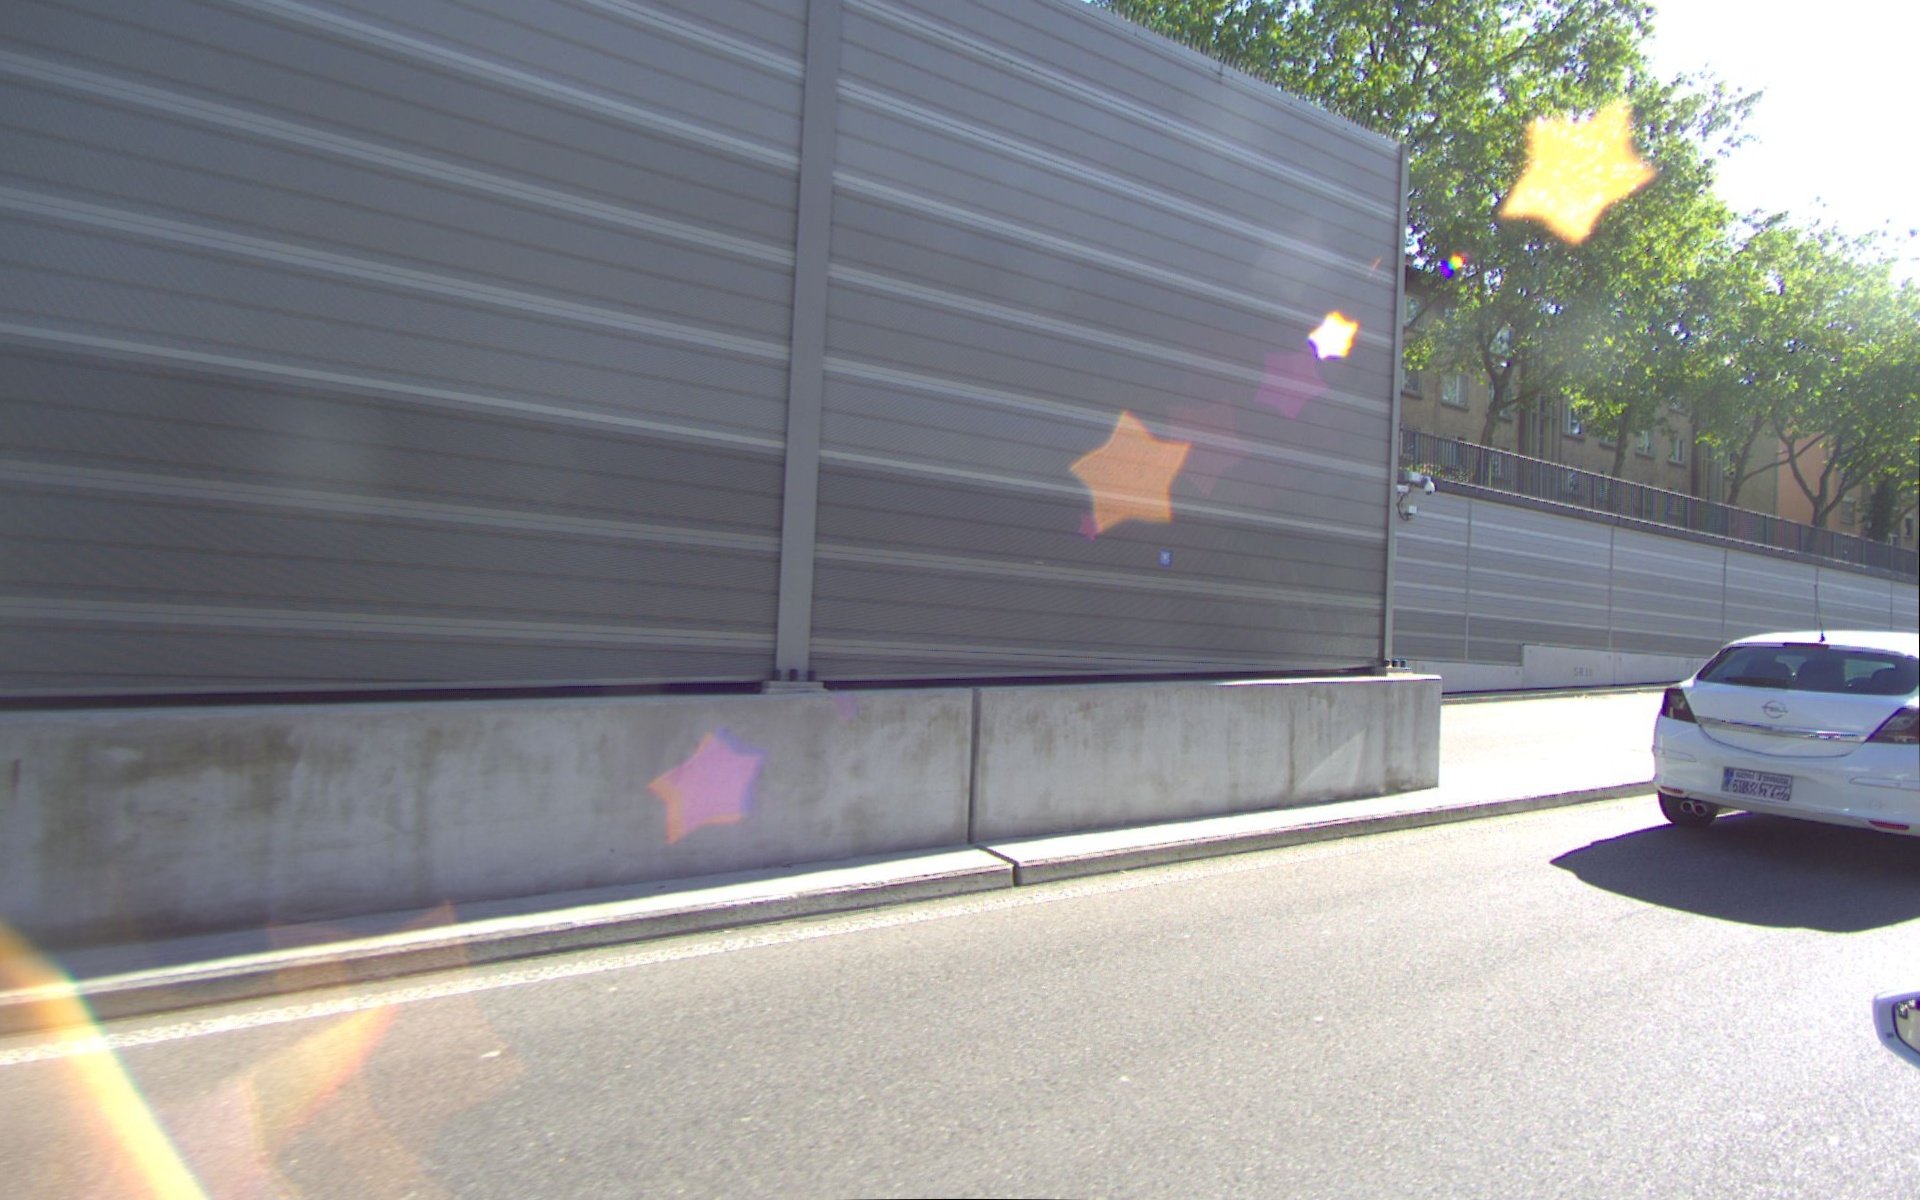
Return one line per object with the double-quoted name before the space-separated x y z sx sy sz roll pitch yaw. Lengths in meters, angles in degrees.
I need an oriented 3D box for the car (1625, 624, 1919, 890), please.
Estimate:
"car" 6.606 0.946 7.142 3.807 1.422 1.611 2 0 -31
